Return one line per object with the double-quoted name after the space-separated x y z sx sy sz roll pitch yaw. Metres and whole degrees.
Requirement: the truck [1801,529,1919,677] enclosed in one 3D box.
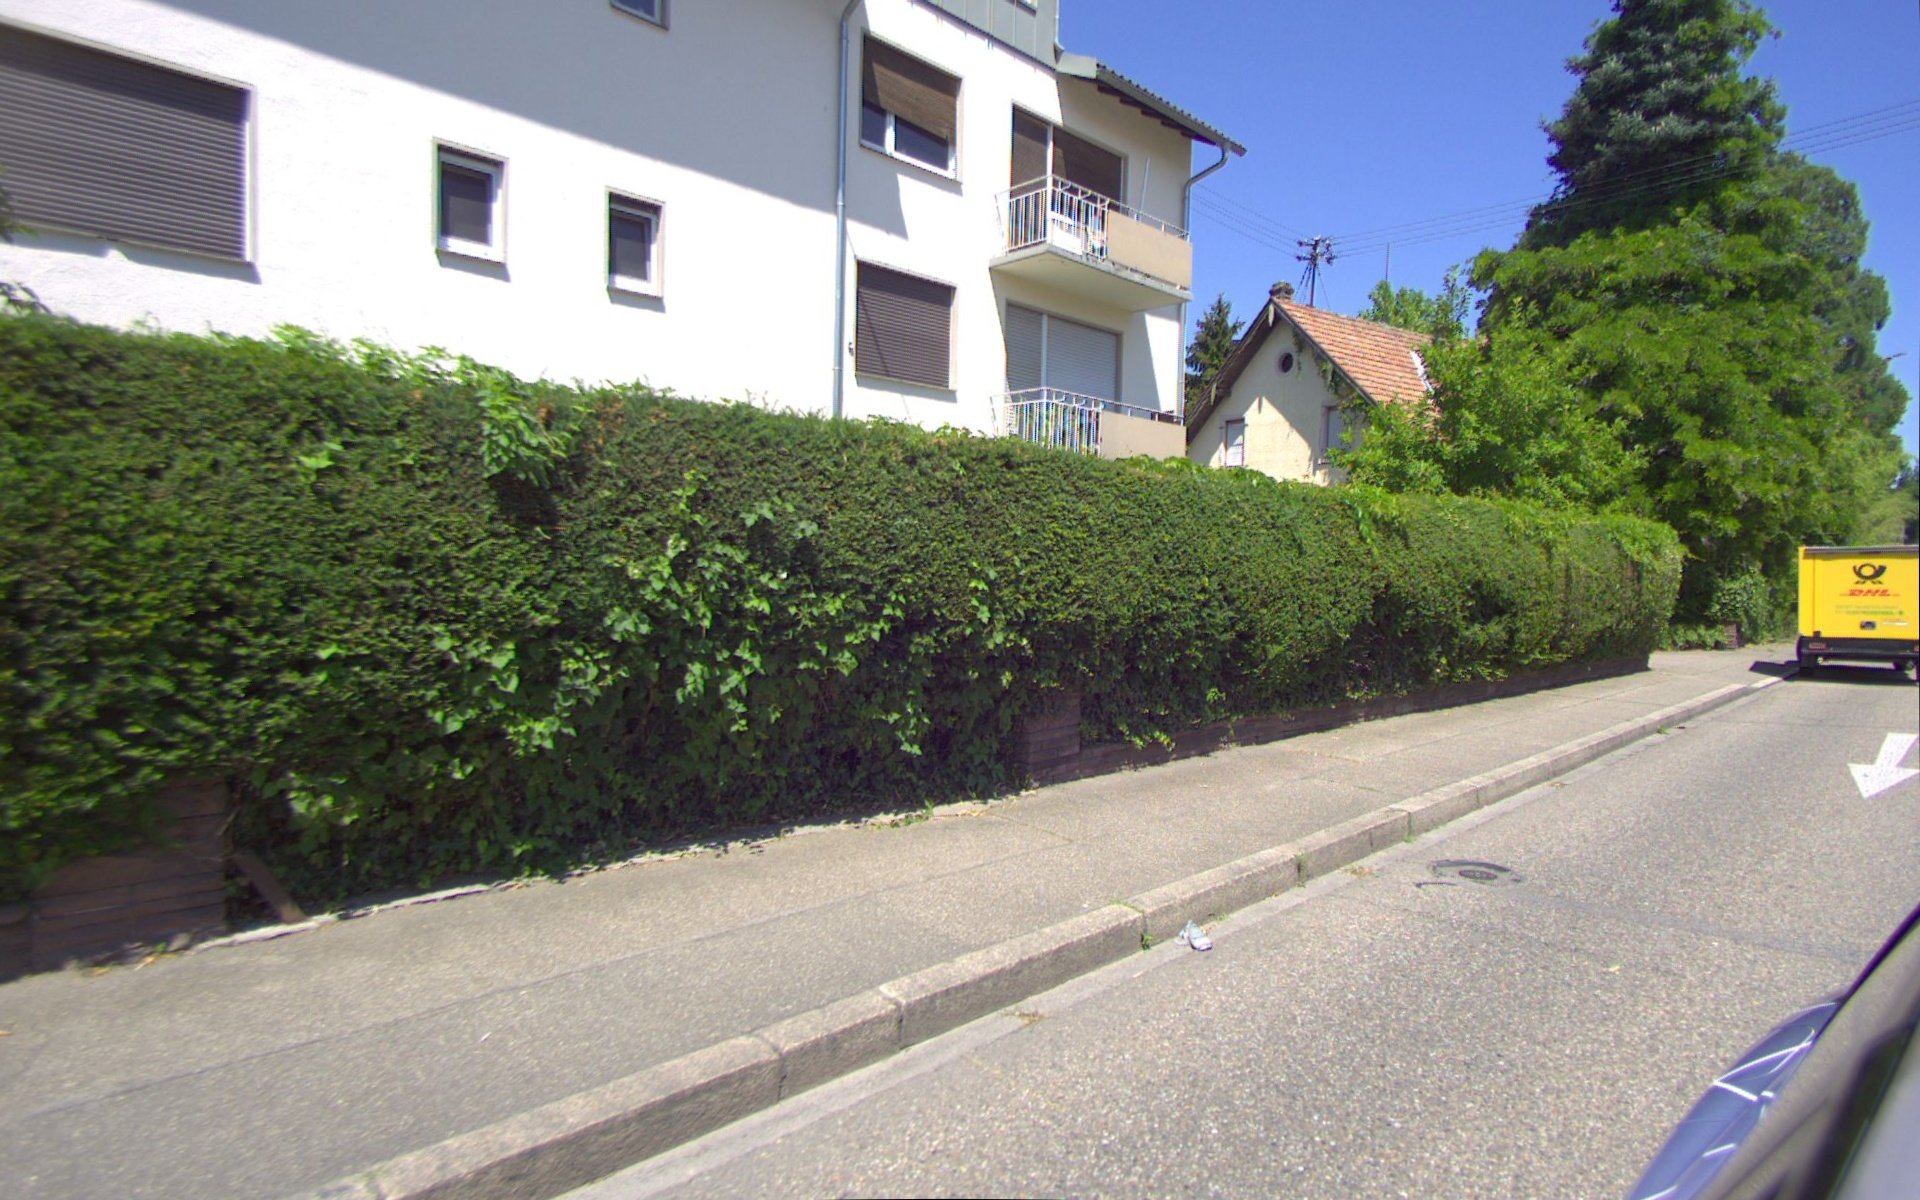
16.792 0.029 18.580 2.011 2.338 6.086 -1 0 40 "truck"
